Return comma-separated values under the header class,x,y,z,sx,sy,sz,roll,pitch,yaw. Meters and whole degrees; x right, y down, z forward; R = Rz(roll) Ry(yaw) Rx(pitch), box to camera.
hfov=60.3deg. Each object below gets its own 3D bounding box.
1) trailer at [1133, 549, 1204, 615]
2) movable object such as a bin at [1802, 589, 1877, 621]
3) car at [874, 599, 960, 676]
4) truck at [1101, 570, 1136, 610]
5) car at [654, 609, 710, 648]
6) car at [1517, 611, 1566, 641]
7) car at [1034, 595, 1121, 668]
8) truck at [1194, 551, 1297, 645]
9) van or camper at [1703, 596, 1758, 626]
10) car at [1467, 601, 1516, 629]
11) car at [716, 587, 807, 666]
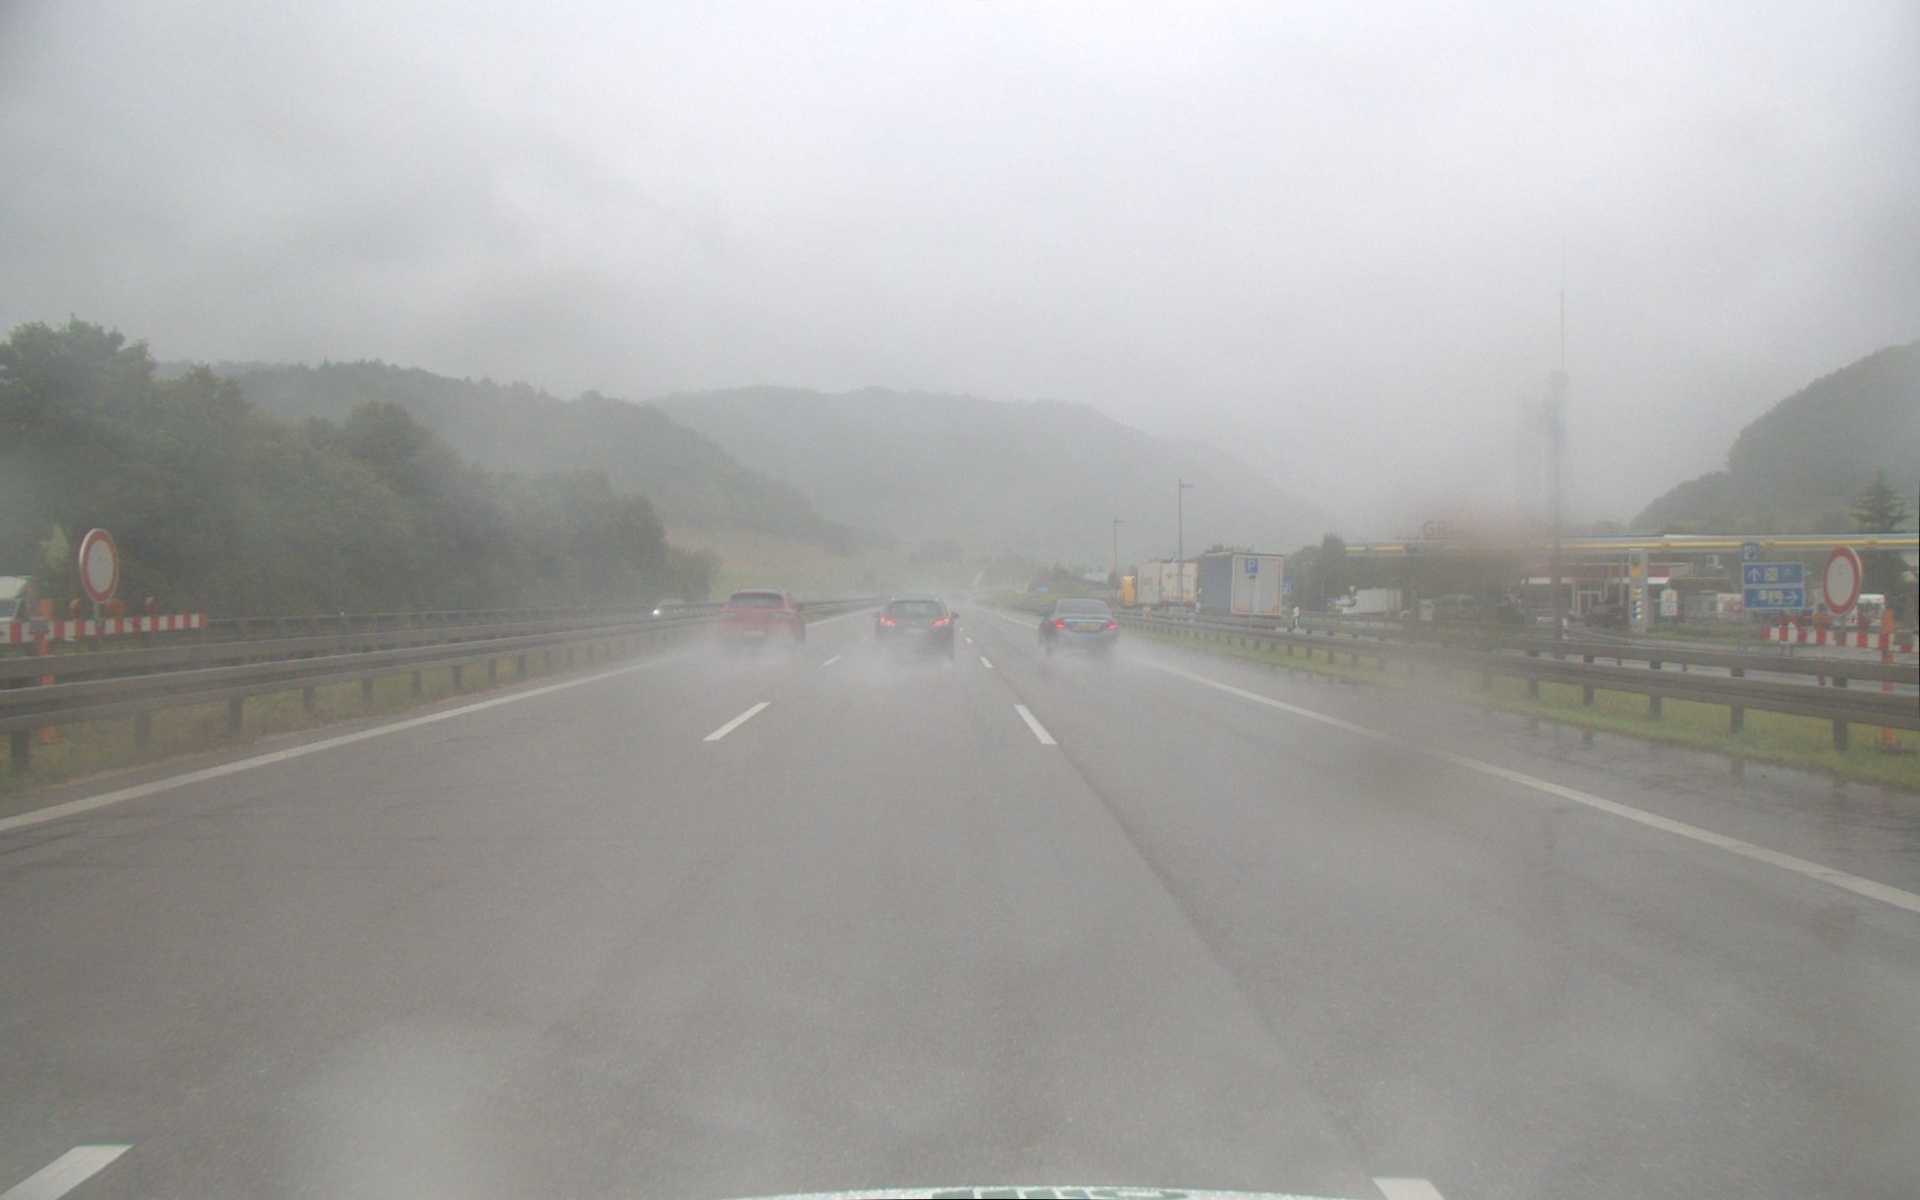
class,x,y,z,sx,sy,sz,roll,pitch,yaw
trailer,14.575,-1.172,116.569,3.444,4.336,11.920,1,0,0
movable object such as a bin,59.848,0.332,112.681,2.122,2.049,5.381,1,0,-1
car,-0.932,0.809,37.383,1.821,1.617,3.999,1,0,-1
truck,13.305,-0.784,139.206,2.244,3.202,8.864,1,0,1
car,-17.310,1.741,103.344,2.574,2.267,5.996,1,0,-1
car,40.625,1.796,115.565,1.920,2.049,3.999,1,0,-1
car,2.999,0.771,42.975,1.931,1.791,4.000,1,0,-1
truck,14.748,-0.133,86.457,3.332,4.479,11.048,2,0,0
van or camper,53.833,0.763,115.614,1.953,2.049,3.999,1,0,-1
car,39.826,1.122,124.062,1.953,2.049,4.900,1,0,-1
car,-4.815,0.602,40.645,1.846,1.847,3.999,0,0,-1
